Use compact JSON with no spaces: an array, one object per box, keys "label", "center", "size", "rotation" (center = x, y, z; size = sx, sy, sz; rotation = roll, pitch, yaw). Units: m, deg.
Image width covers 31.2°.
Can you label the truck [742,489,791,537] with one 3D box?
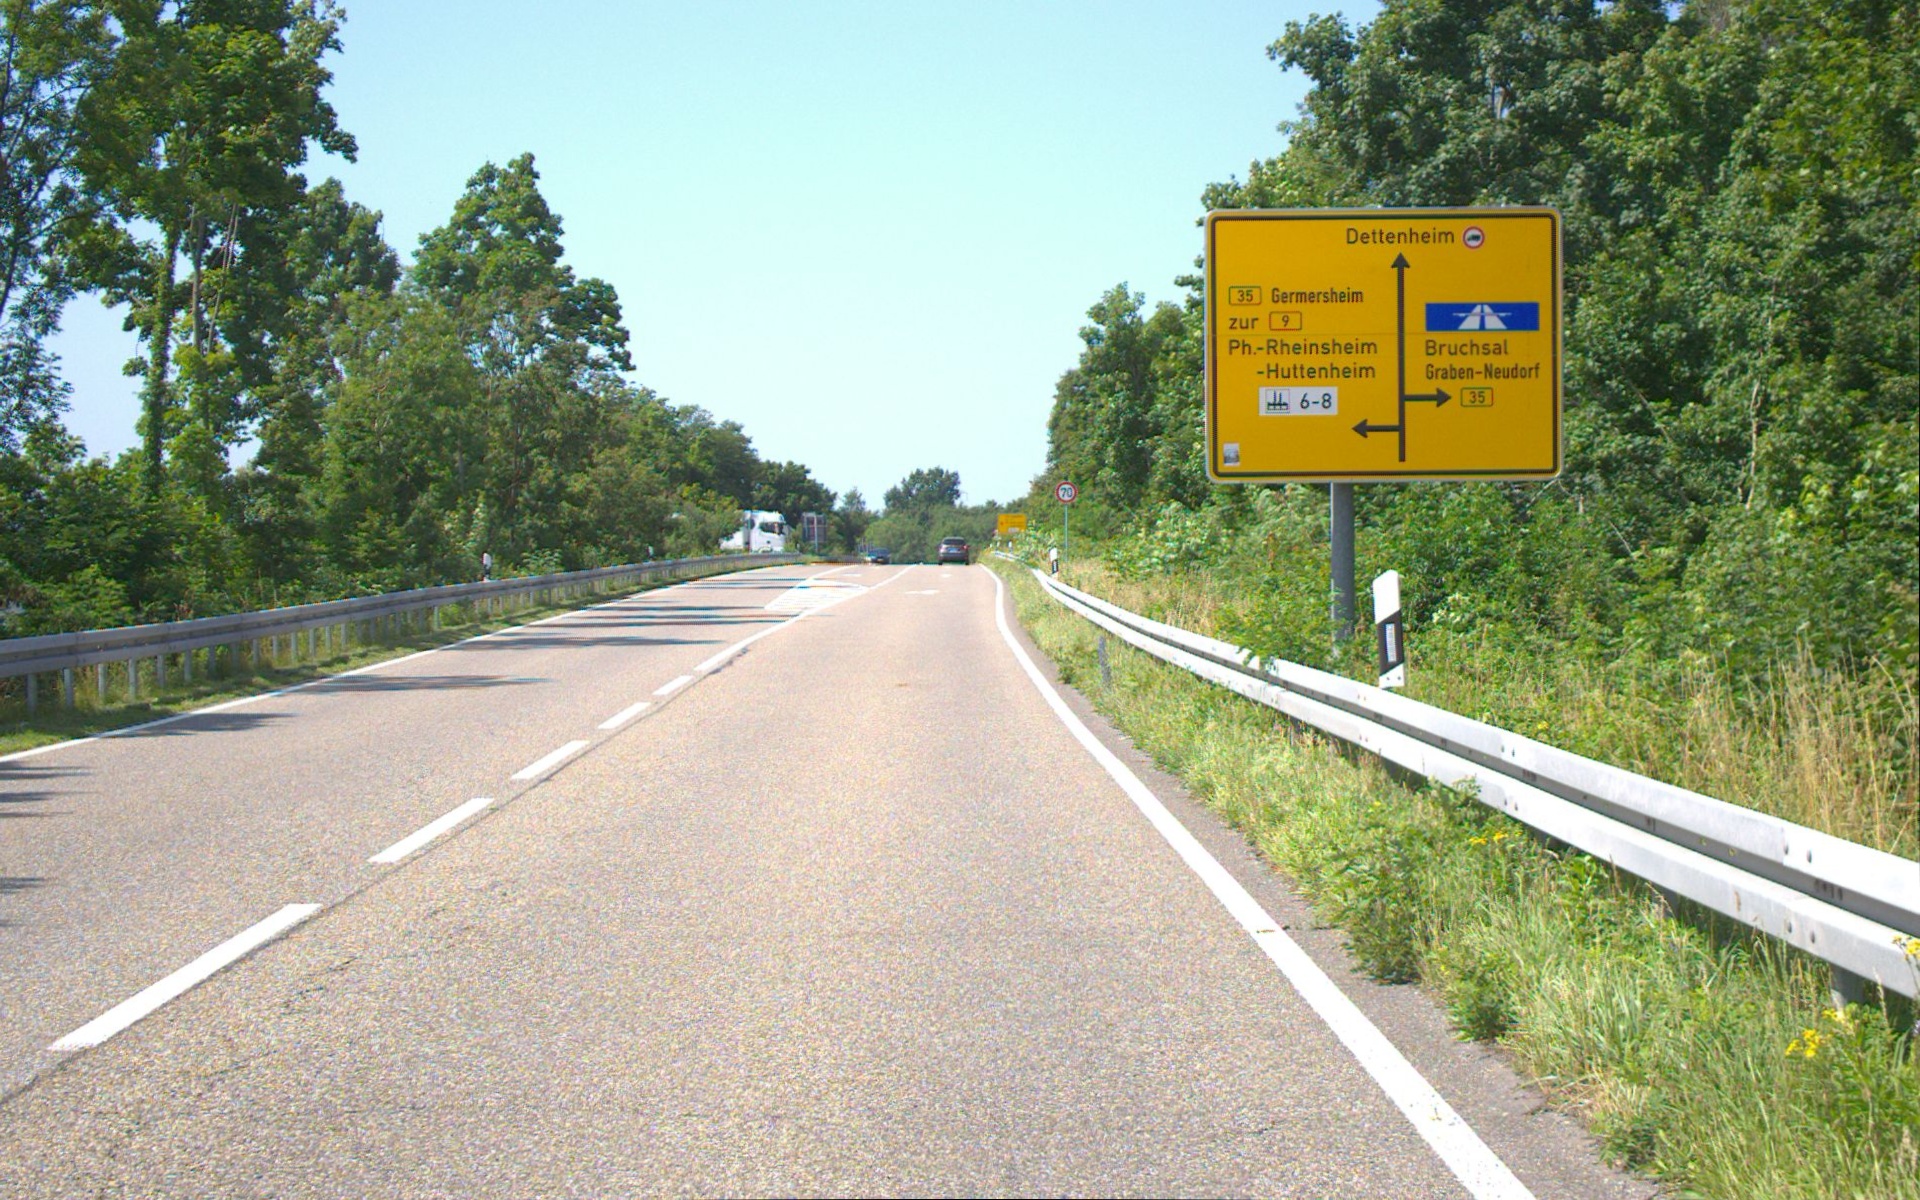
[{"label":"truck","center":[-14.453,-6.490,256.440],"size":[3.465,3.525,2.000],"rotation":[0,1,2]}]

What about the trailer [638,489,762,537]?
[{"label":"trailer","center":[-19.401,-6.474,256.625],"size":[9.102,3.566,2.000],"rotation":[0,1,2]}]

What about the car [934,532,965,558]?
[{"label":"car","center":[-0.570,-3.139,195.821],"size":[1.741,1.465,3.693],"rotation":[0,1,0]}]
